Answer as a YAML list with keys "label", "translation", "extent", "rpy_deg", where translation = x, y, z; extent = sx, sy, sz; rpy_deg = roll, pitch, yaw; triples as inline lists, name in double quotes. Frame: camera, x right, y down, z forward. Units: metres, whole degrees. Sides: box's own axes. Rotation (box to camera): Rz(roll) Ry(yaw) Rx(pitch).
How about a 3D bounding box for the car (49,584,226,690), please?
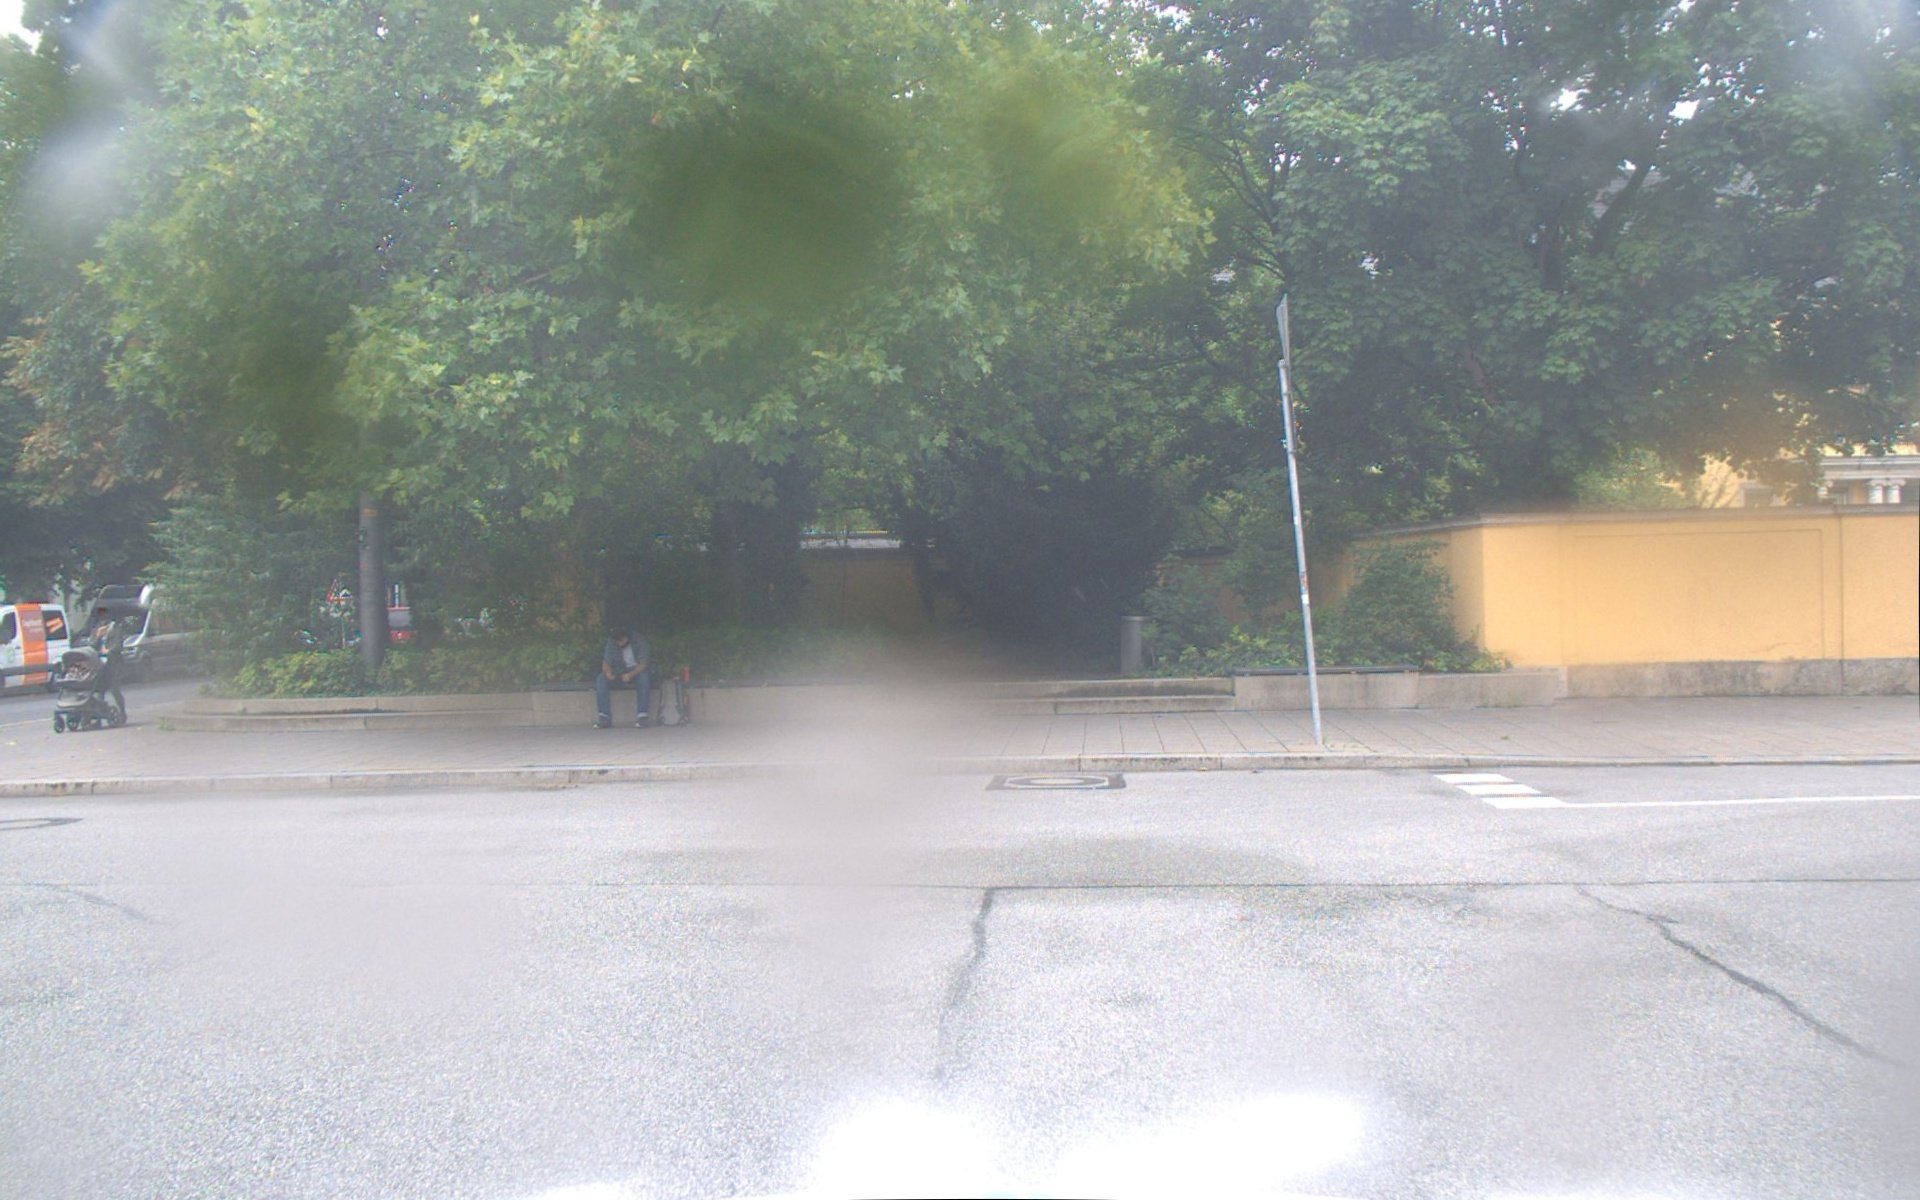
- label: "car"
  translation: [-25.023, 1.078, 50.659]
  extent: [2.288, 2.973, 6.575]
  rpy_deg: [-2, 0, -2]

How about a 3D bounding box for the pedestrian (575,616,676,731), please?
- label: "pedestrian"
  translation: [-3.697, 0.798, 18.335]
  extent: [0.794, 1.209, 0.920]
  rpy_deg: [-2, 0, 9]

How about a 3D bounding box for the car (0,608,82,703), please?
- label: "car"
  translation: [-24.287, 1.378, 41.302]
  extent: [2.068, 2.290, 5.192]
  rpy_deg: [-2, 0, -2]

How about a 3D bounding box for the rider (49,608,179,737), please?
- label: "rider"
  translation: [-11.913, 1.001, 23.320]
  extent: [1.059, 1.696, 1.140]
  rpy_deg: [-4, -1, 10]

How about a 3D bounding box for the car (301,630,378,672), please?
- label: "car"
  translation: [-26.247, 2.138, 70.069]
  extent: [1.858, 1.599, 4.071]
  rpy_deg: [-2, 0, -3]

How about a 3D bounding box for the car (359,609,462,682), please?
- label: "car"
  translation: [-16.007, 1.290, 48.395]
  extent: [2.003, 1.956, 4.438]
  rpy_deg: [-2, 0, -8]

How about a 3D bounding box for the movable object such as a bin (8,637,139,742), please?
- label: "movable object such as a bin"
  translation: [-12.049, 1.208, 22.510]
  extent: [1.055, 1.289, 1.088]
  rpy_deg: [-4, 0, 10]
